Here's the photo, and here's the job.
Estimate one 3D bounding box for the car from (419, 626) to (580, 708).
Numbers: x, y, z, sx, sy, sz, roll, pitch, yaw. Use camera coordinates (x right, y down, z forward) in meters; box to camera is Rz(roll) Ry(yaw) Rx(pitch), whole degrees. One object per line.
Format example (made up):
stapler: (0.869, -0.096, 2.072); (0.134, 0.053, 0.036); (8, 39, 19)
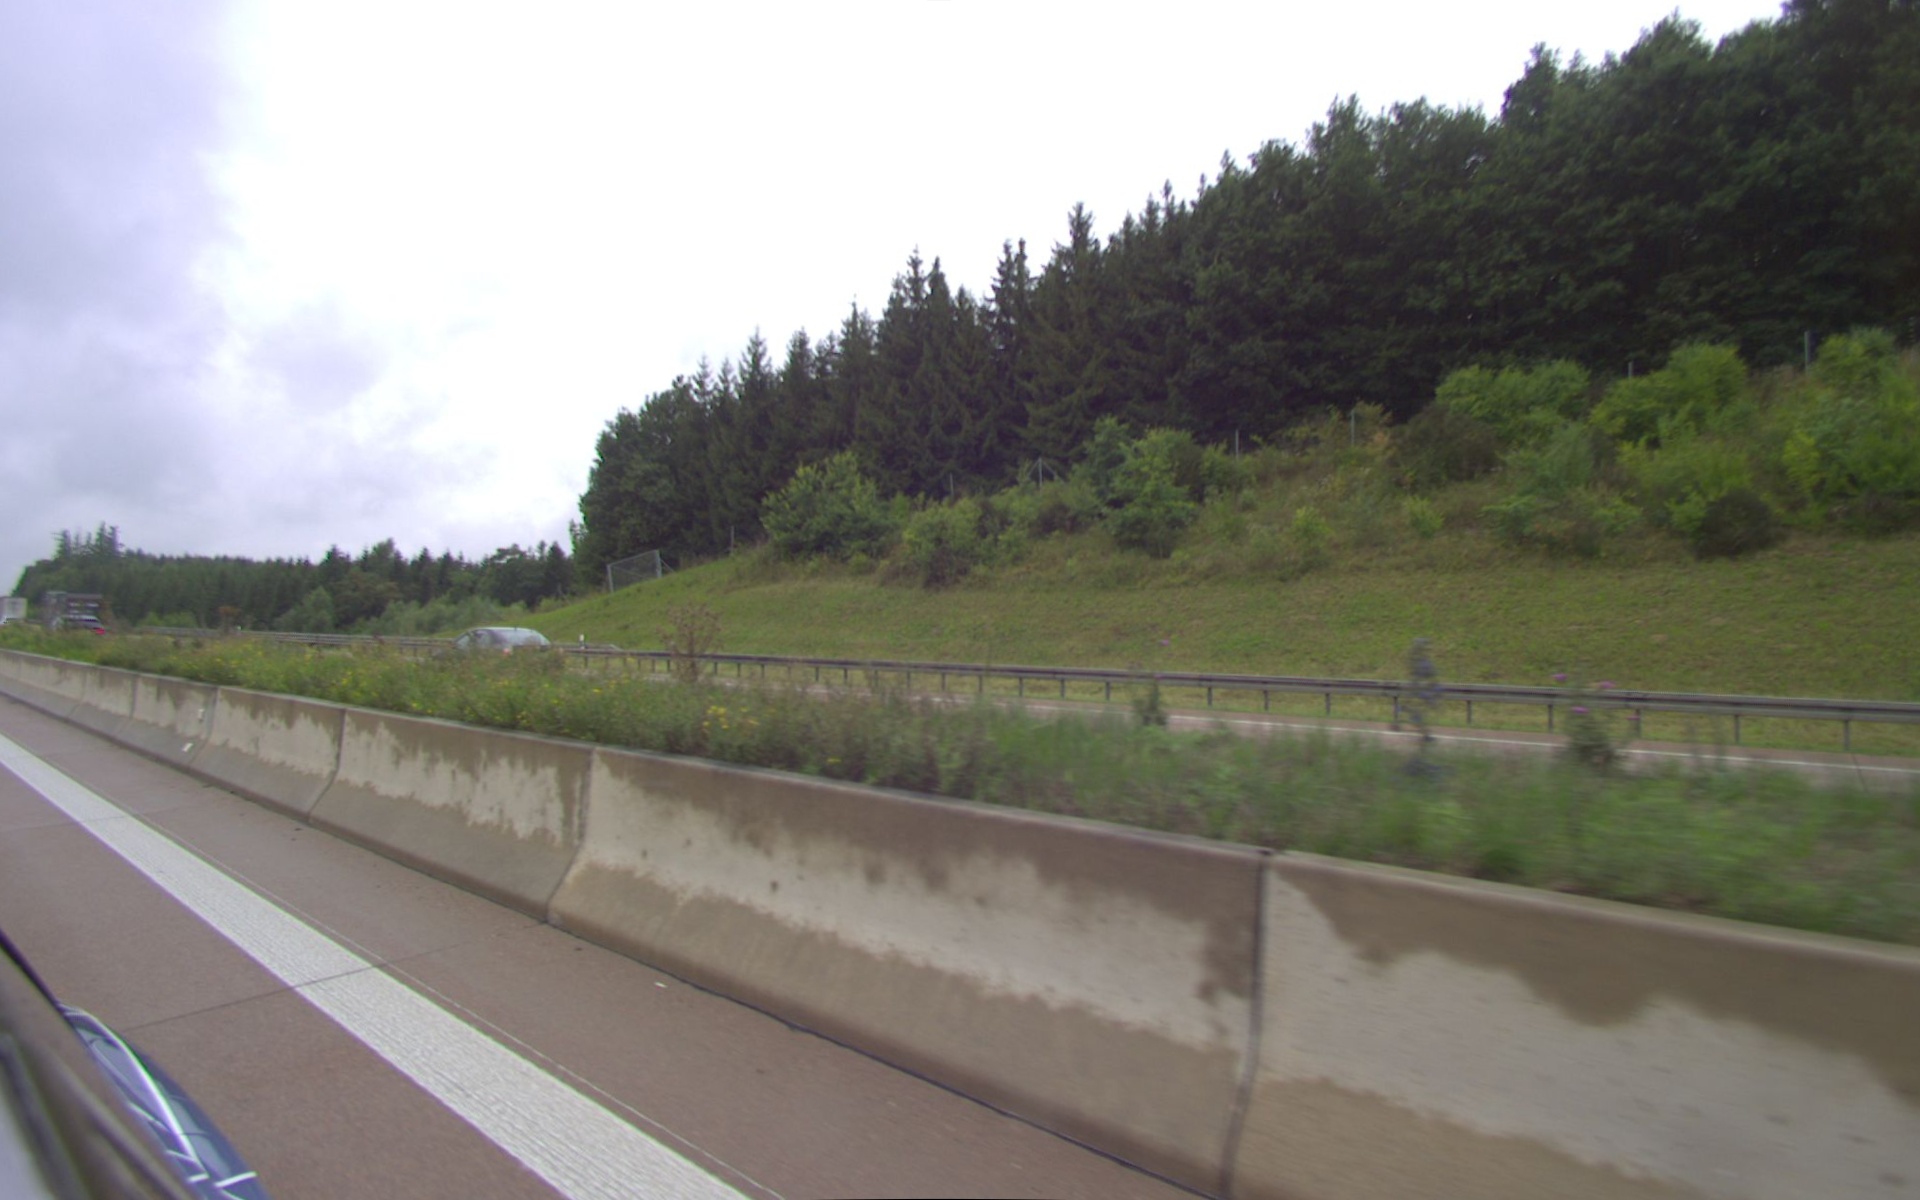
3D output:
car: (-11.218, 1.528, 24.540); (4.257, 1.733, 1.973); (-1, 0, 41)
